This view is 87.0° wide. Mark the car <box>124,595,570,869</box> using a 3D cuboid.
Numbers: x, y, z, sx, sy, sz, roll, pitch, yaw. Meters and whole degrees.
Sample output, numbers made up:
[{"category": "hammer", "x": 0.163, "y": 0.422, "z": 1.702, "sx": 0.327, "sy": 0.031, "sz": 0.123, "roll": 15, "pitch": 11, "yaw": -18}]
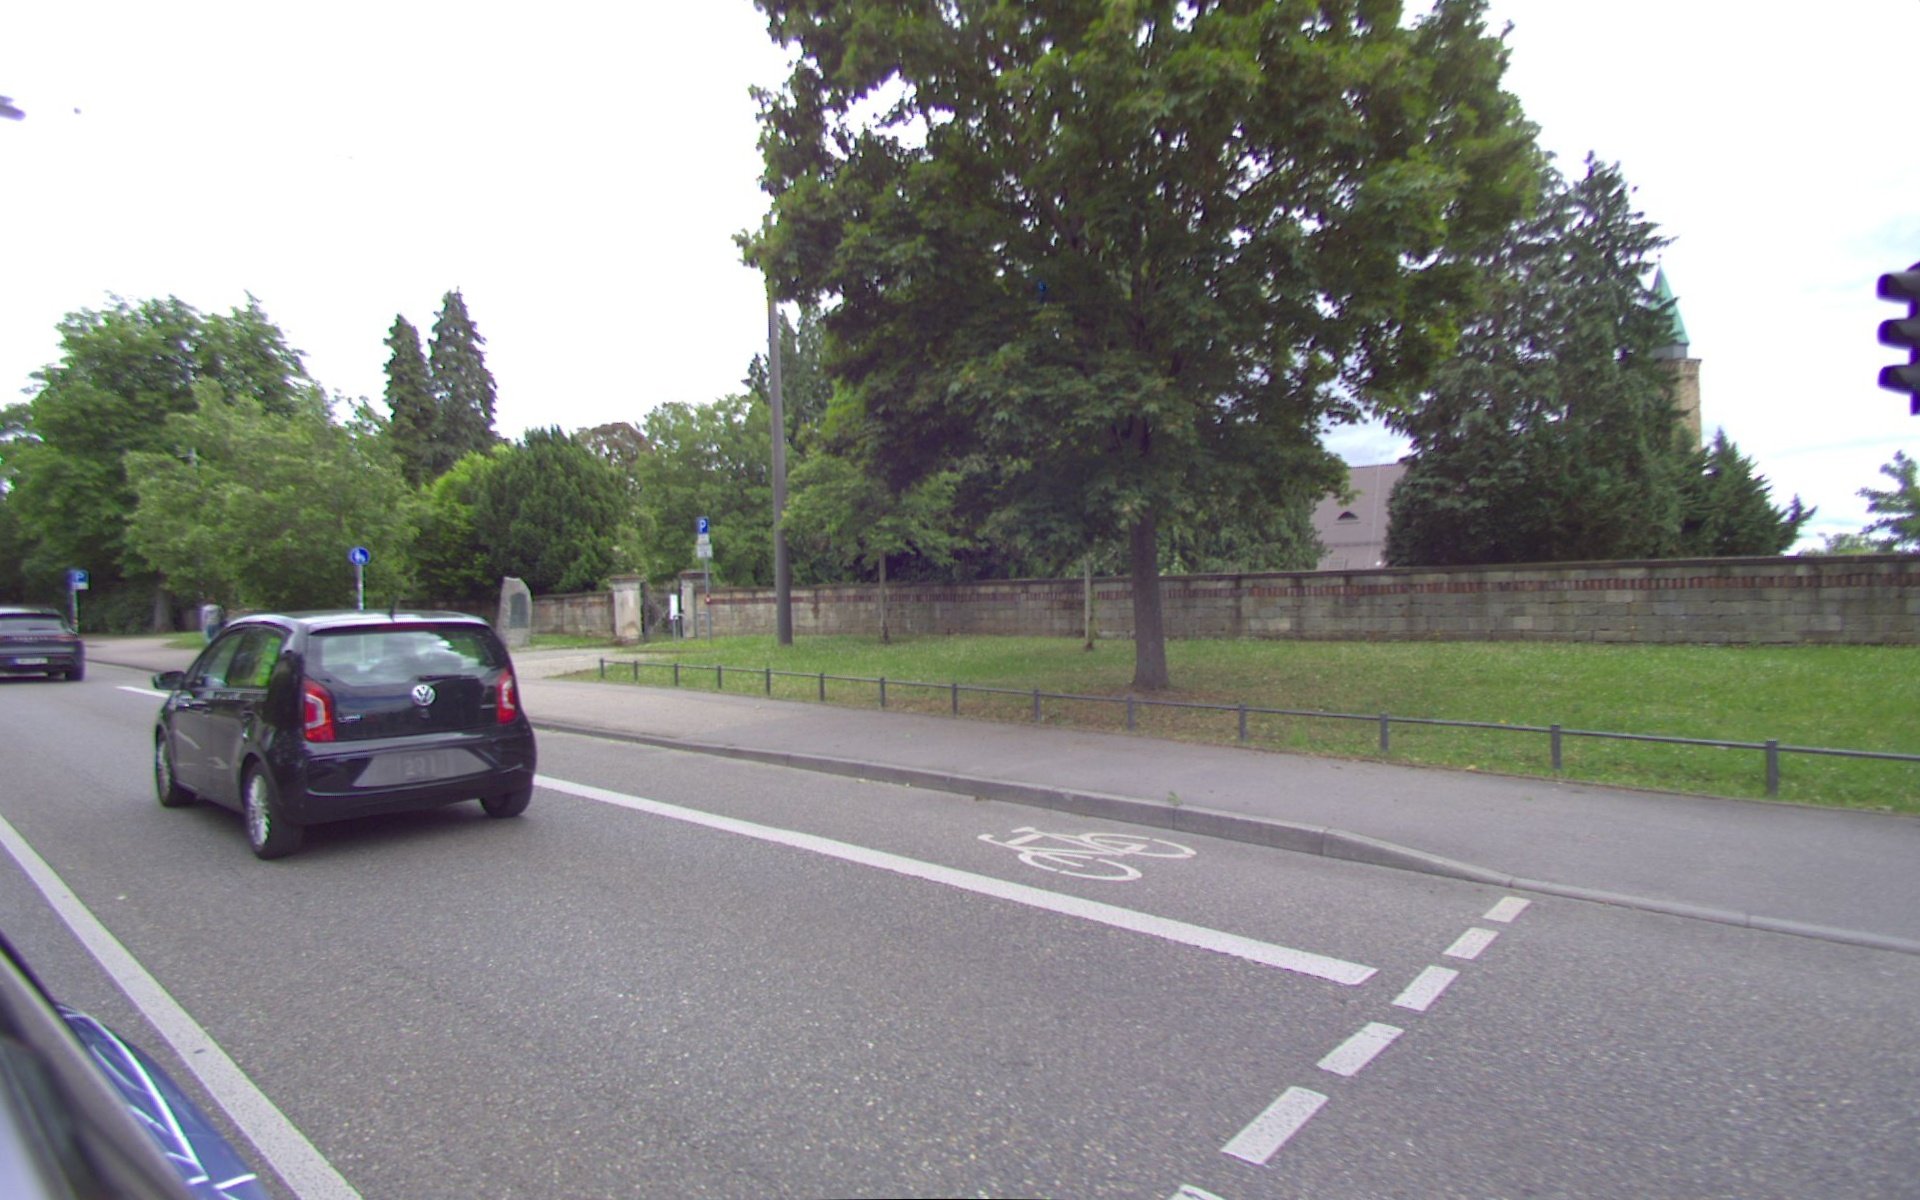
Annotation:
[{"category": "car", "x": -4.584, "y": 0.742, "z": 7.345, "sx": 3.825, "sy": 1.459, "sz": 1.647, "roll": -1, "pitch": 0, "yaw": 41}]

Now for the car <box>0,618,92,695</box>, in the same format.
[{"category": "car", "x": -20.766, "y": 1.190, "z": 22.270, "sx": 4.524, "sy": 1.543, "sz": 1.918, "roll": -1, "pitch": -2, "yaw": 41}]

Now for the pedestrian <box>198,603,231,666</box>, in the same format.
[{"category": "pedestrian", "x": -22.129, "y": 1.013, "z": 30.049, "sx": 0.784, "sy": 1.825, "sz": 0.607, "roll": 0, "pitch": 1, "yaw": 41}]
